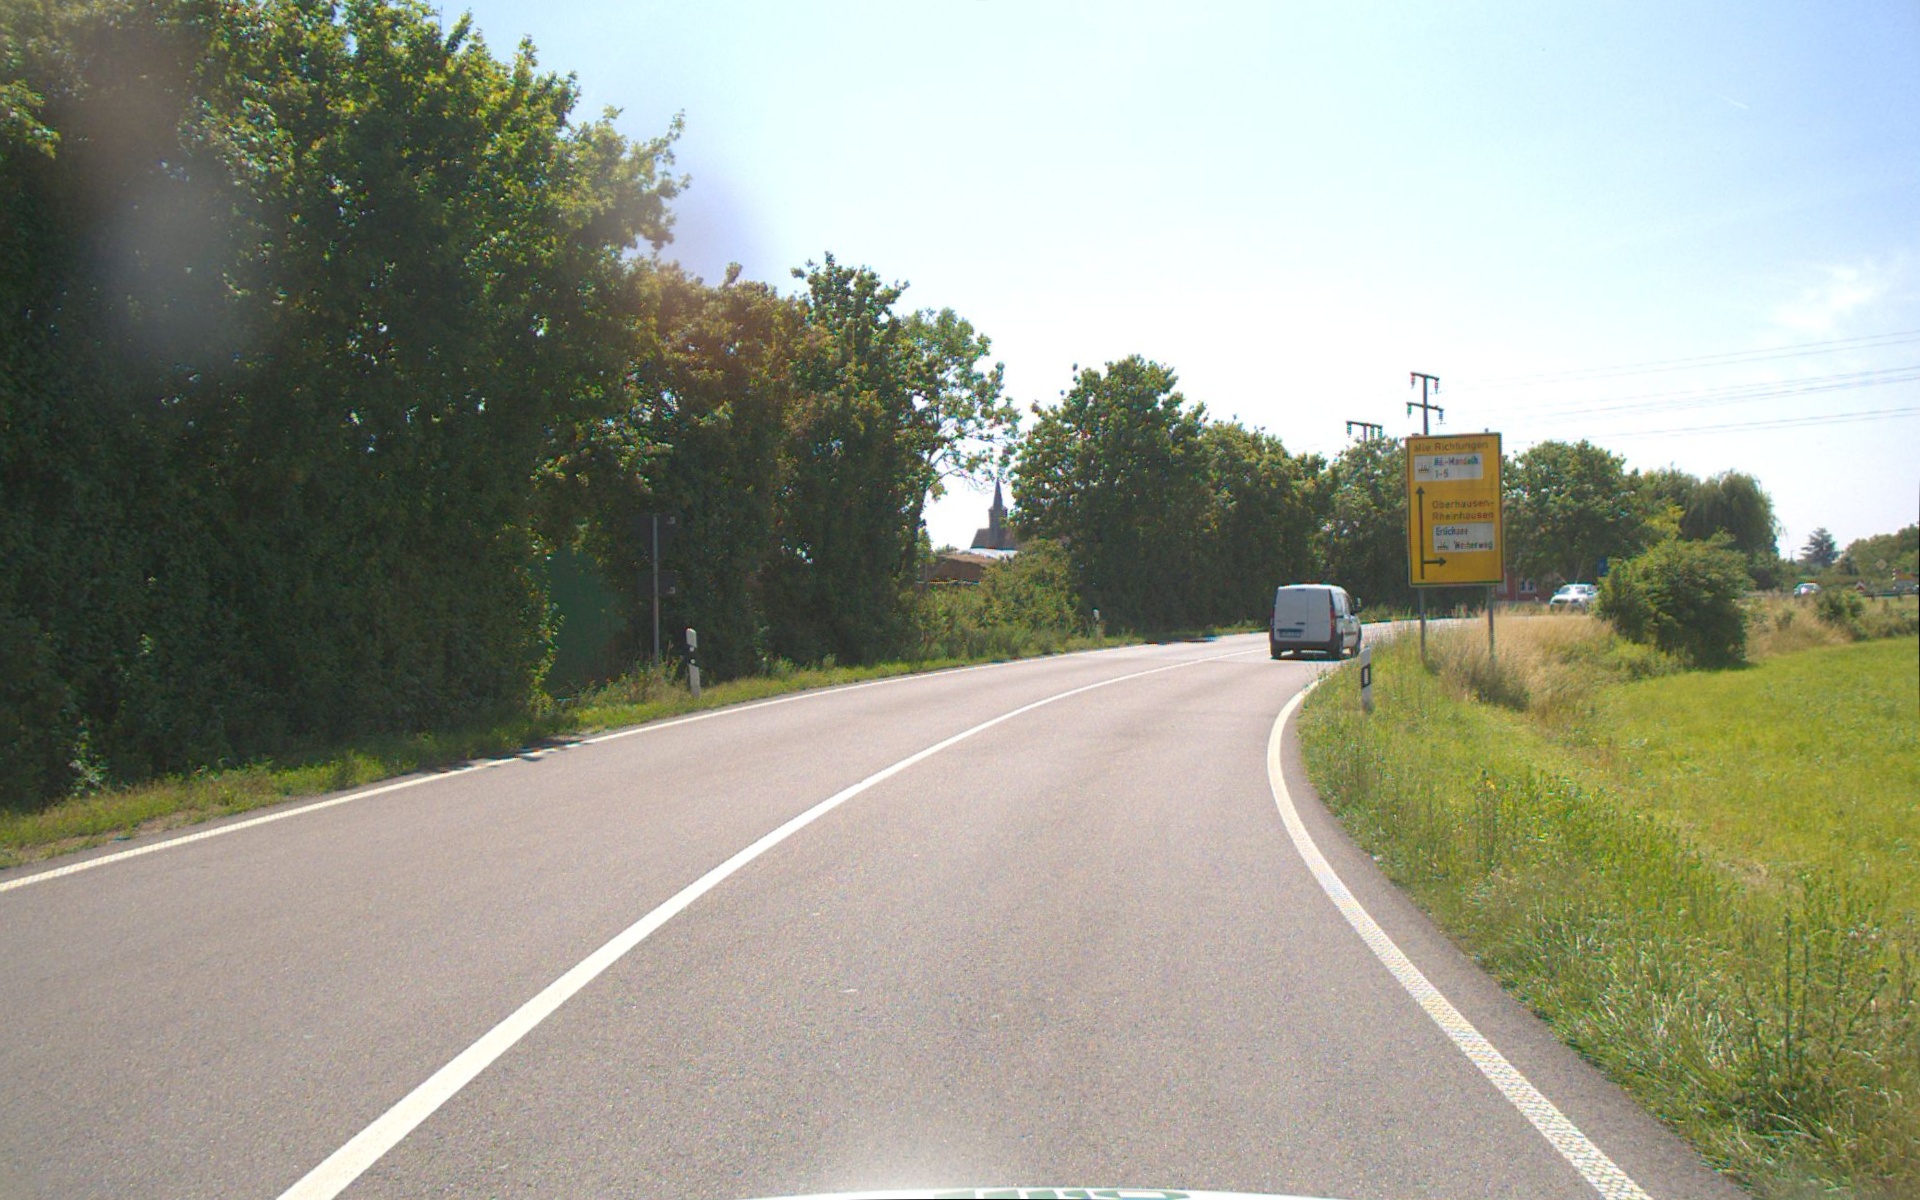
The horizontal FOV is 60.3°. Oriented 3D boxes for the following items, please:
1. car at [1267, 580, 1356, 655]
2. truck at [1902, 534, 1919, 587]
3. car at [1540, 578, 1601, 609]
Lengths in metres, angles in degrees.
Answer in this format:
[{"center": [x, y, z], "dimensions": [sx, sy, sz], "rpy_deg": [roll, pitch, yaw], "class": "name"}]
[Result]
[{"center": [8.908, 0.449, 41.717], "dimensions": [1.863, 1.763, 3.825], "rpy_deg": [-2, -1, 16], "class": "car"}, {"center": [62.405, -2.367, 101.559], "dimensions": [8.644, 3.192, 3.090], "rpy_deg": [1, -1, -20], "class": "truck"}, {"center": [32.742, -0.360, 88.618], "dimensions": [1.824, 1.629, 4.758], "rpy_deg": [1, 1, 37], "class": "car"}]
